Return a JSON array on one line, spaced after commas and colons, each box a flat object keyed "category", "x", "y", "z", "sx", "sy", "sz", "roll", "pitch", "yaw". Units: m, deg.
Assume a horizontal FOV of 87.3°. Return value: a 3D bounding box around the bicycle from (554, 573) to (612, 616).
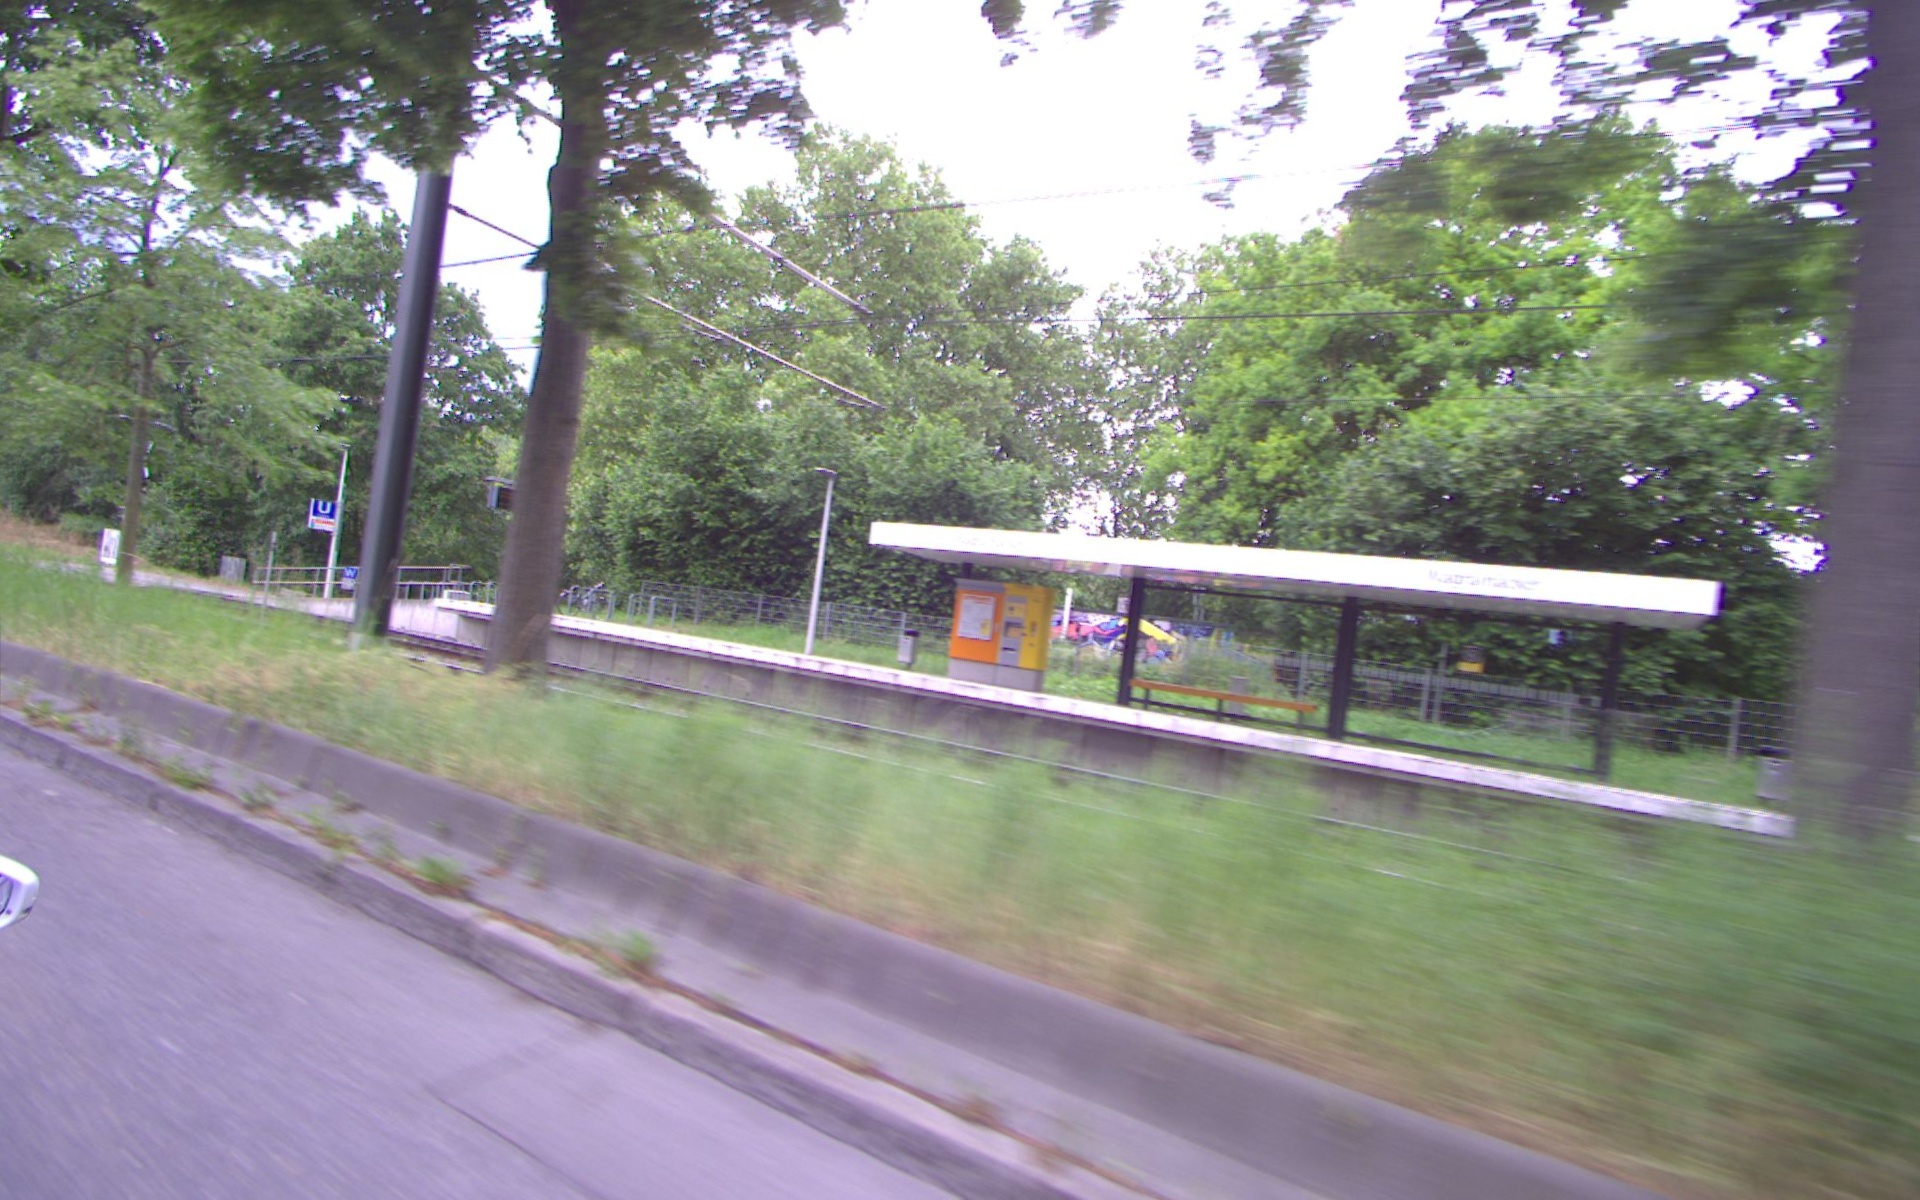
[{"category": "bicycle", "x": -10.668, "y": -0.139, "z": 28.541, "sx": 0.442, "sy": 0.984, "sz": 1.514, "roll": 7, "pitch": -3, "yaw": 27}]
